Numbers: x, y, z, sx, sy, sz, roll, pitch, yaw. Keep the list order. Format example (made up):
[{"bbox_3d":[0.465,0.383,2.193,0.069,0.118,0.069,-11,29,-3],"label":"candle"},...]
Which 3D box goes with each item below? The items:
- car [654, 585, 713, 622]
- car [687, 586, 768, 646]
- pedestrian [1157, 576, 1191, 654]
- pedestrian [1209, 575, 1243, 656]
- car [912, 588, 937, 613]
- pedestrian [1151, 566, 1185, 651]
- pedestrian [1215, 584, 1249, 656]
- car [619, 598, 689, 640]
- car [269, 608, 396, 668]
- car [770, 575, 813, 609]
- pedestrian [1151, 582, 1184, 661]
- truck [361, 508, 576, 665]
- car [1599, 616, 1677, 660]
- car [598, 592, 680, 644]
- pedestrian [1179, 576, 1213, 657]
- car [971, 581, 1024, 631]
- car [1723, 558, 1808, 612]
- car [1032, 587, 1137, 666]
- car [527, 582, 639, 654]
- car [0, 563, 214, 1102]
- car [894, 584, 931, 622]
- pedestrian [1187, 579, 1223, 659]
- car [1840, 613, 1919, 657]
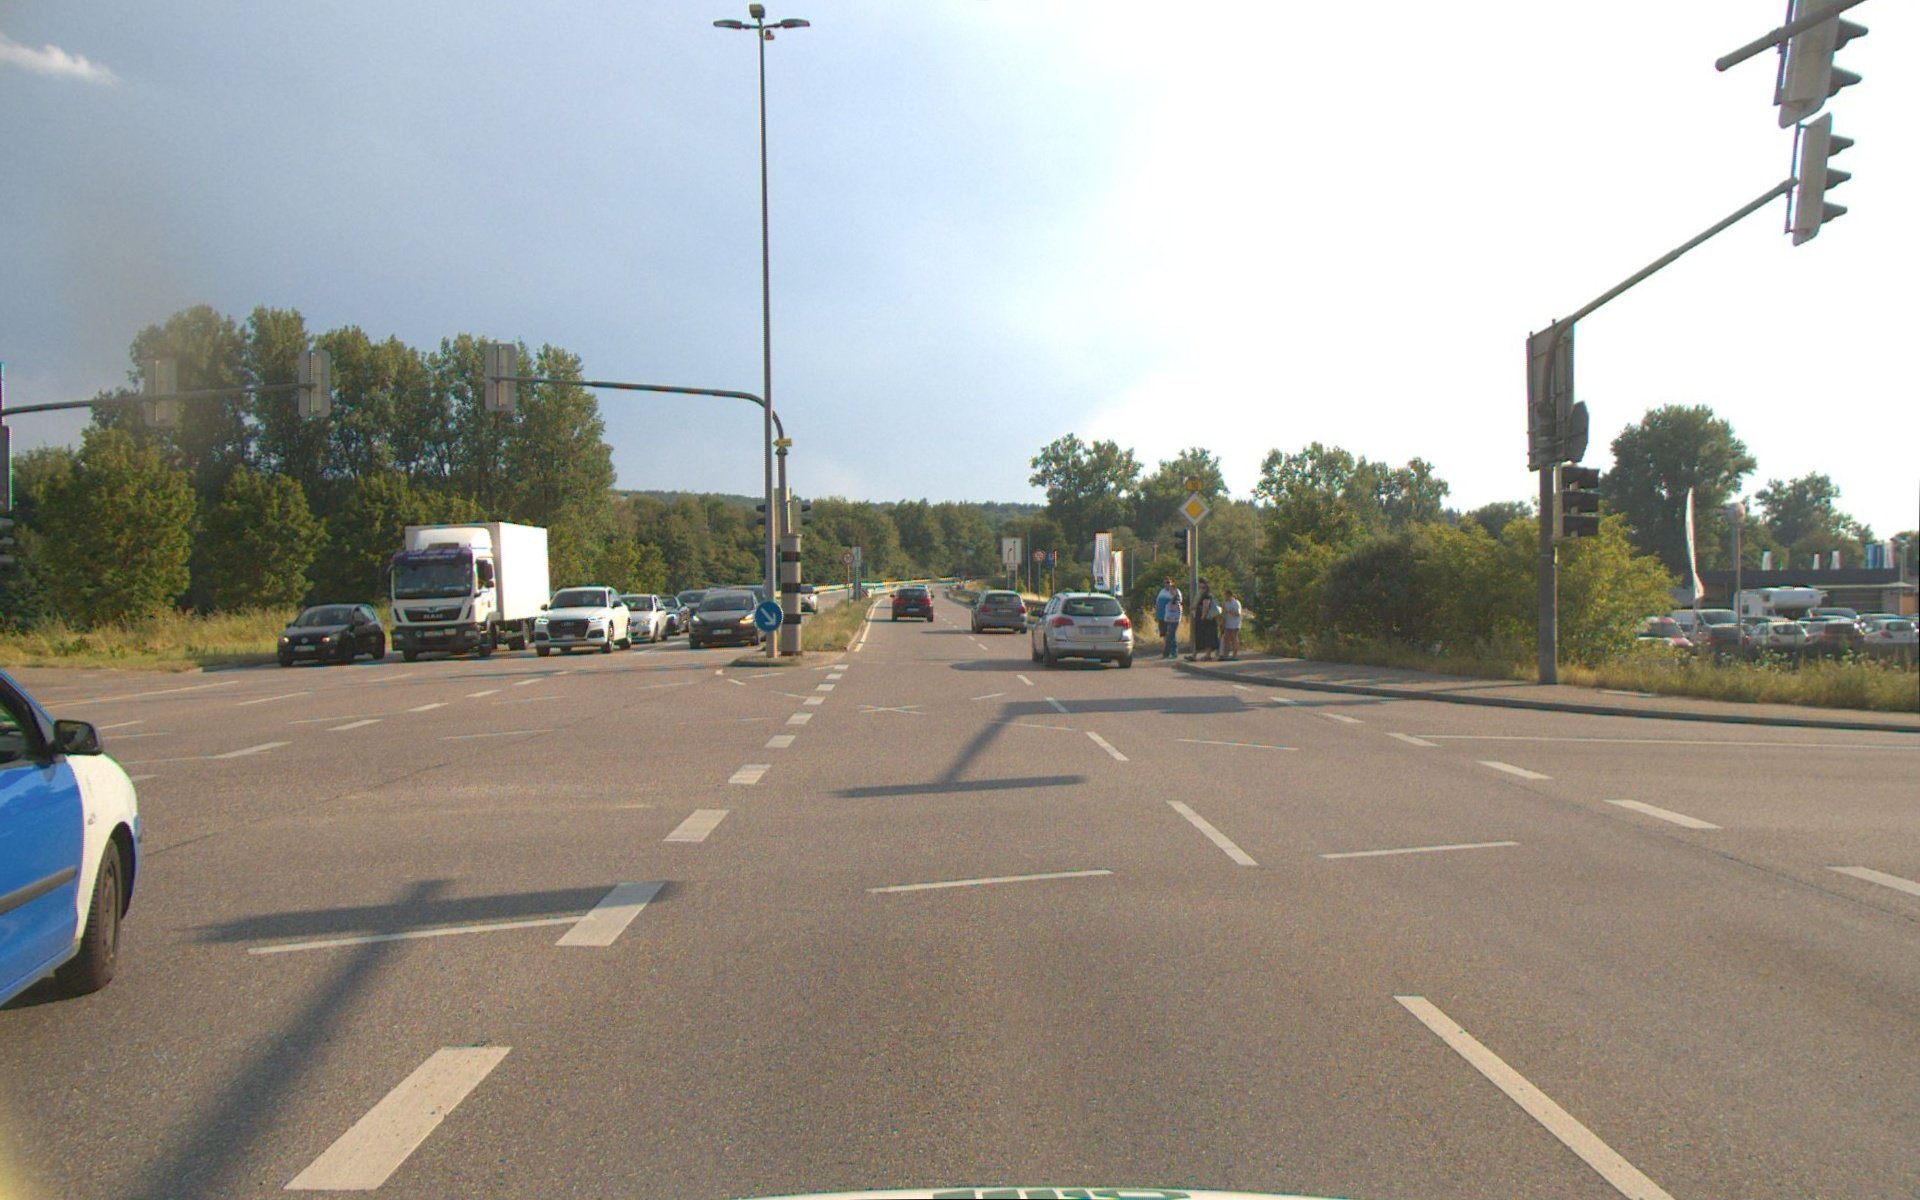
[{"bbox_3d":[-10.773,0.159,64.716,1.744,1.378,3.998,1,0,-2],"label":"car"},{"bbox_3d":[-6.181,0.426,44.426,1.754,1.492,4.925,-1,0,-4],"label":"car"},{"bbox_3d":[4.830,0.341,37.371,0.583,1.712,0.633,-3,0,-3],"label":"pedestrian"},{"bbox_3d":[5.717,0.333,35.607,0.561,1.707,0.622,1,-1,-6],"label":"pedestrian"},{"bbox_3d":[-2.138,0.043,101.272,1.462,1.502,3.358,1,0,-1],"label":"car"},{"bbox_3d":[4.793,0.200,38.130,0.606,1.916,0.861,-1,-1,-3],"label":"pedestrian"},{"bbox_3d":[5.735,0.420,34.890,0.561,1.482,0.622,1,-1,-6],"label":"pedestrian"},{"bbox_3d":[-10.521,0.627,57.137,1.668,1.306,4.816,-2,1,-3],"label":"car"},{"bbox_3d":[-16.105,0.949,42.649,1.777,1.400,3.999,-2,0,-1],"label":"car"},{"bbox_3d":[-8.075,-0.381,79.602,1.745,1.546,3.998,-2,0,-2],"label":"car"},{"bbox_3d":[4.571,0.478,36.447,0.561,1.707,0.622,1,-1,-6],"label":"pedestrian"},{"bbox_3d":[-13.391,-0.301,46.218,2.873,3.754,10.496,-3,0,-1],"label":"truck"},{"bbox_3d":[24.264,1.351,59.275,1.496,1.510,3.586,0,0,3],"label":"car"},{"bbox_3d":[-9.628,0.536,49.987,1.668,1.430,5.078,-1,0,-3],"label":"car"},{"bbox_3d":[5.064,0.360,35.551,0.561,1.707,0.622,1,-1,-6],"label":"pedestrian"},{"bbox_3d":[1.260,0.202,56.368,1.633,1.601,3.999,2,0,-1],"label":"car"},{"bbox_3d":[40.167,-0.699,82.582,1.719,2.594,5.470,1,0,2],"label":"car"},{"bbox_3d":[2.514,0.533,34.237,1.772,1.512,3.999,1,0,-1],"label":"car"},{"bbox_3d":[-9.690,0.446,42.858,1.954,1.707,4.804,-1,0,-3],"label":"car"},{"bbox_3d":[-3.593,0.663,4.860,1.657,1.526,3.882,0,-1,-11],"label":"car"},{"bbox_3d":[-1.985,0.134,69.470,1.462,1.502,3.358,1,0,-1],"label":"car"},{"bbox_3d":[5.140,0.401,34.740,0.561,1.643,0.622,-2,0,-6],"label":"pedestrian"},{"bbox_3d":[35.725,1.330,63.976,1.577,1.652,3.348,1,0,0],"label":"car"}]
